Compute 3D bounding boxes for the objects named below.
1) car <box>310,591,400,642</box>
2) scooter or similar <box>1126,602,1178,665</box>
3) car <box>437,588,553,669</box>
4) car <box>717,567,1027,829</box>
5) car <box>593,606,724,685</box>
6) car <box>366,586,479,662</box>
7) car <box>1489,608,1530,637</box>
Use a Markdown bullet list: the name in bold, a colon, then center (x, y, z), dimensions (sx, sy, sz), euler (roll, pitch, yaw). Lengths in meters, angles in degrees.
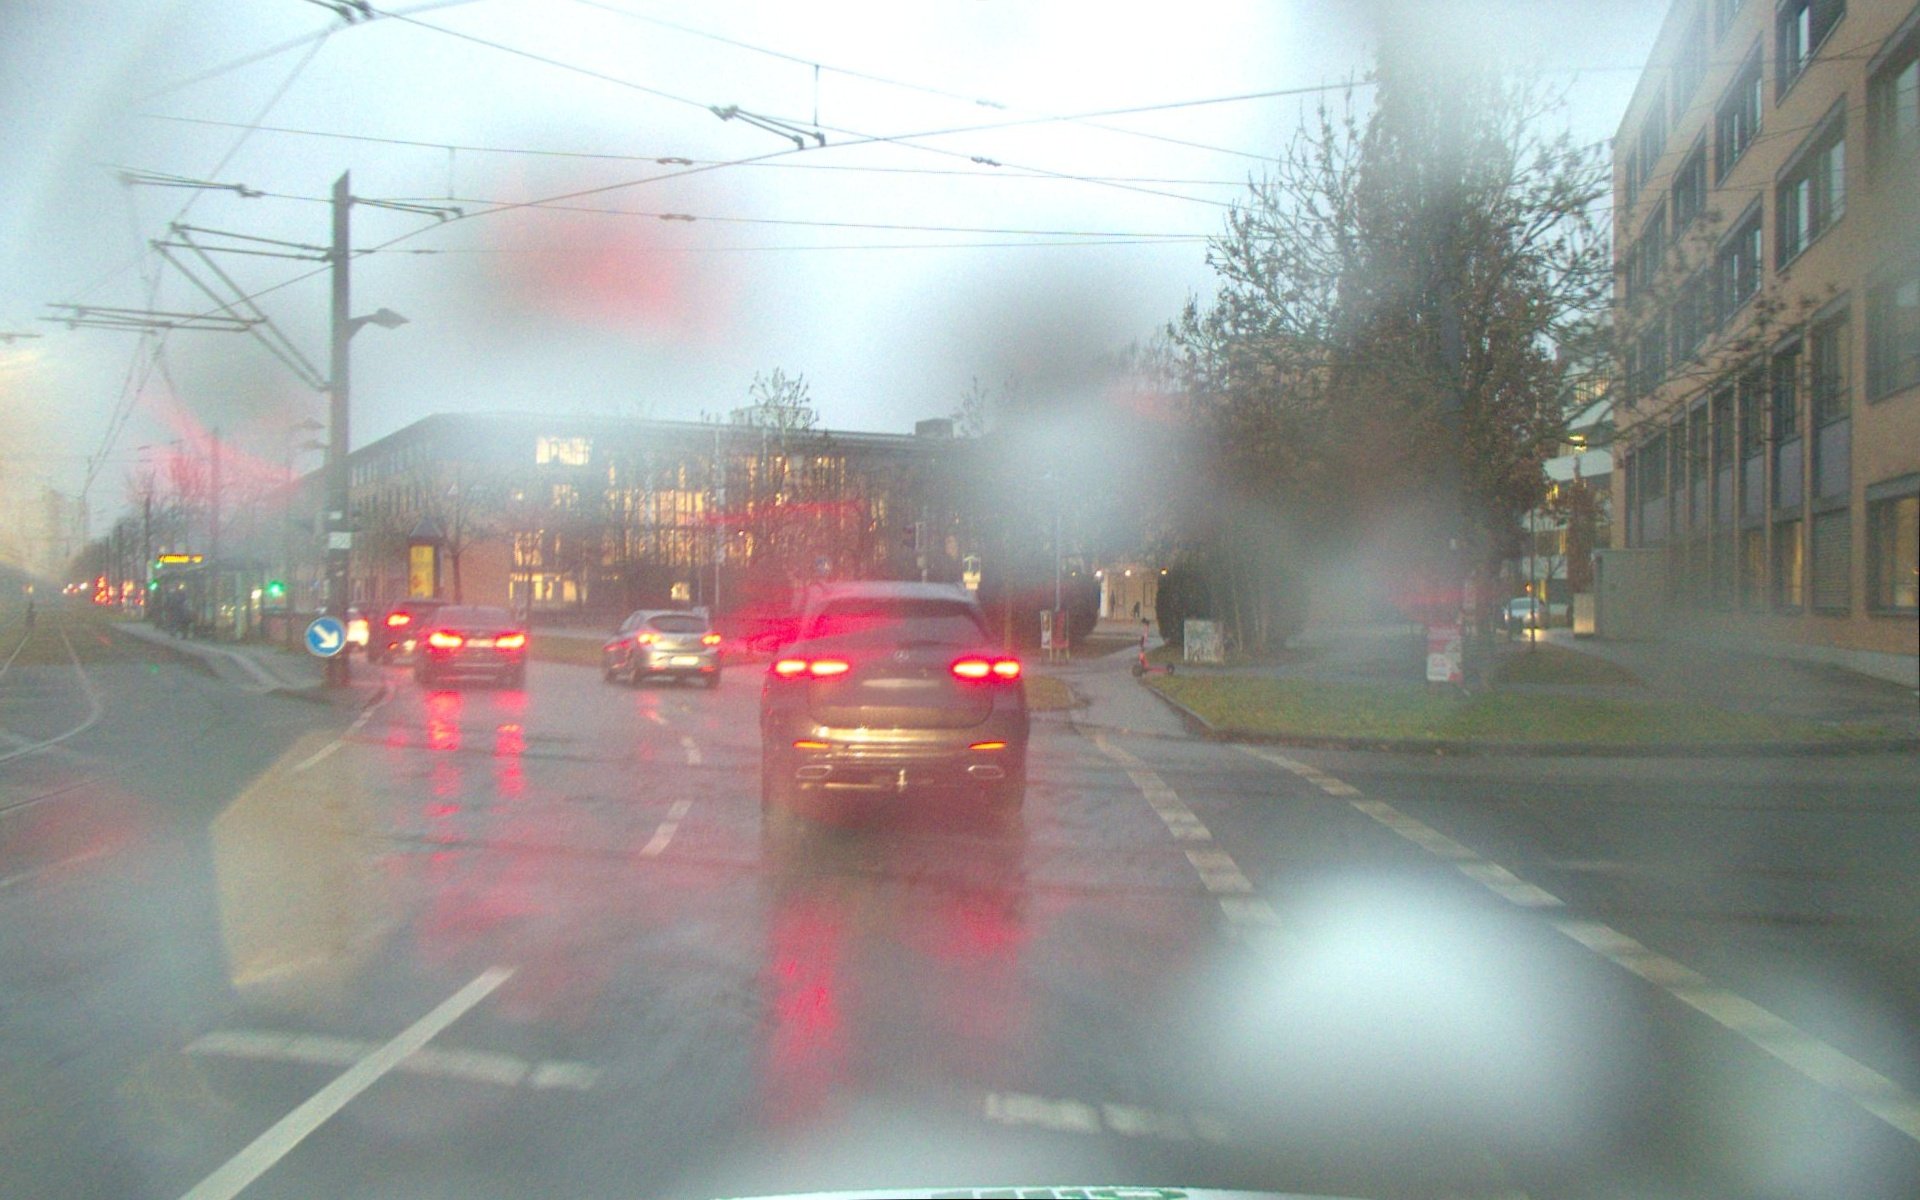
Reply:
- **car**: center (-20.737, 0.529, 56.629), dimensions (1.977, 1.646, 3.951), euler (-1, 1, -35)
- **scooter or similar**: center (3.979, 0.685, 34.193), dimensions (0.479, 1.253, 1.137), euler (0, 1, 44)
- **car**: center (-8.920, 0.486, 31.531), dimensions (1.963, 1.422, 3.979), euler (0, 1, -18)
- **car**: center (-0.669, 0.594, 12.459), dimensions (1.951, 1.644, 3.997), euler (0, 1, -4)
- **car**: center (-6.198, 0.877, 33.679), dimensions (1.965, 1.432, 3.976), euler (0, 1, -21)
- **car**: center (-13.492, 0.545, 41.409), dimensions (1.972, 1.796, 3.961), euler (0, 1, -29)
- **car**: center (25.251, 1.015, 76.123), dimensions (1.632, 1.201, 3.710), euler (0, 1, 16)
